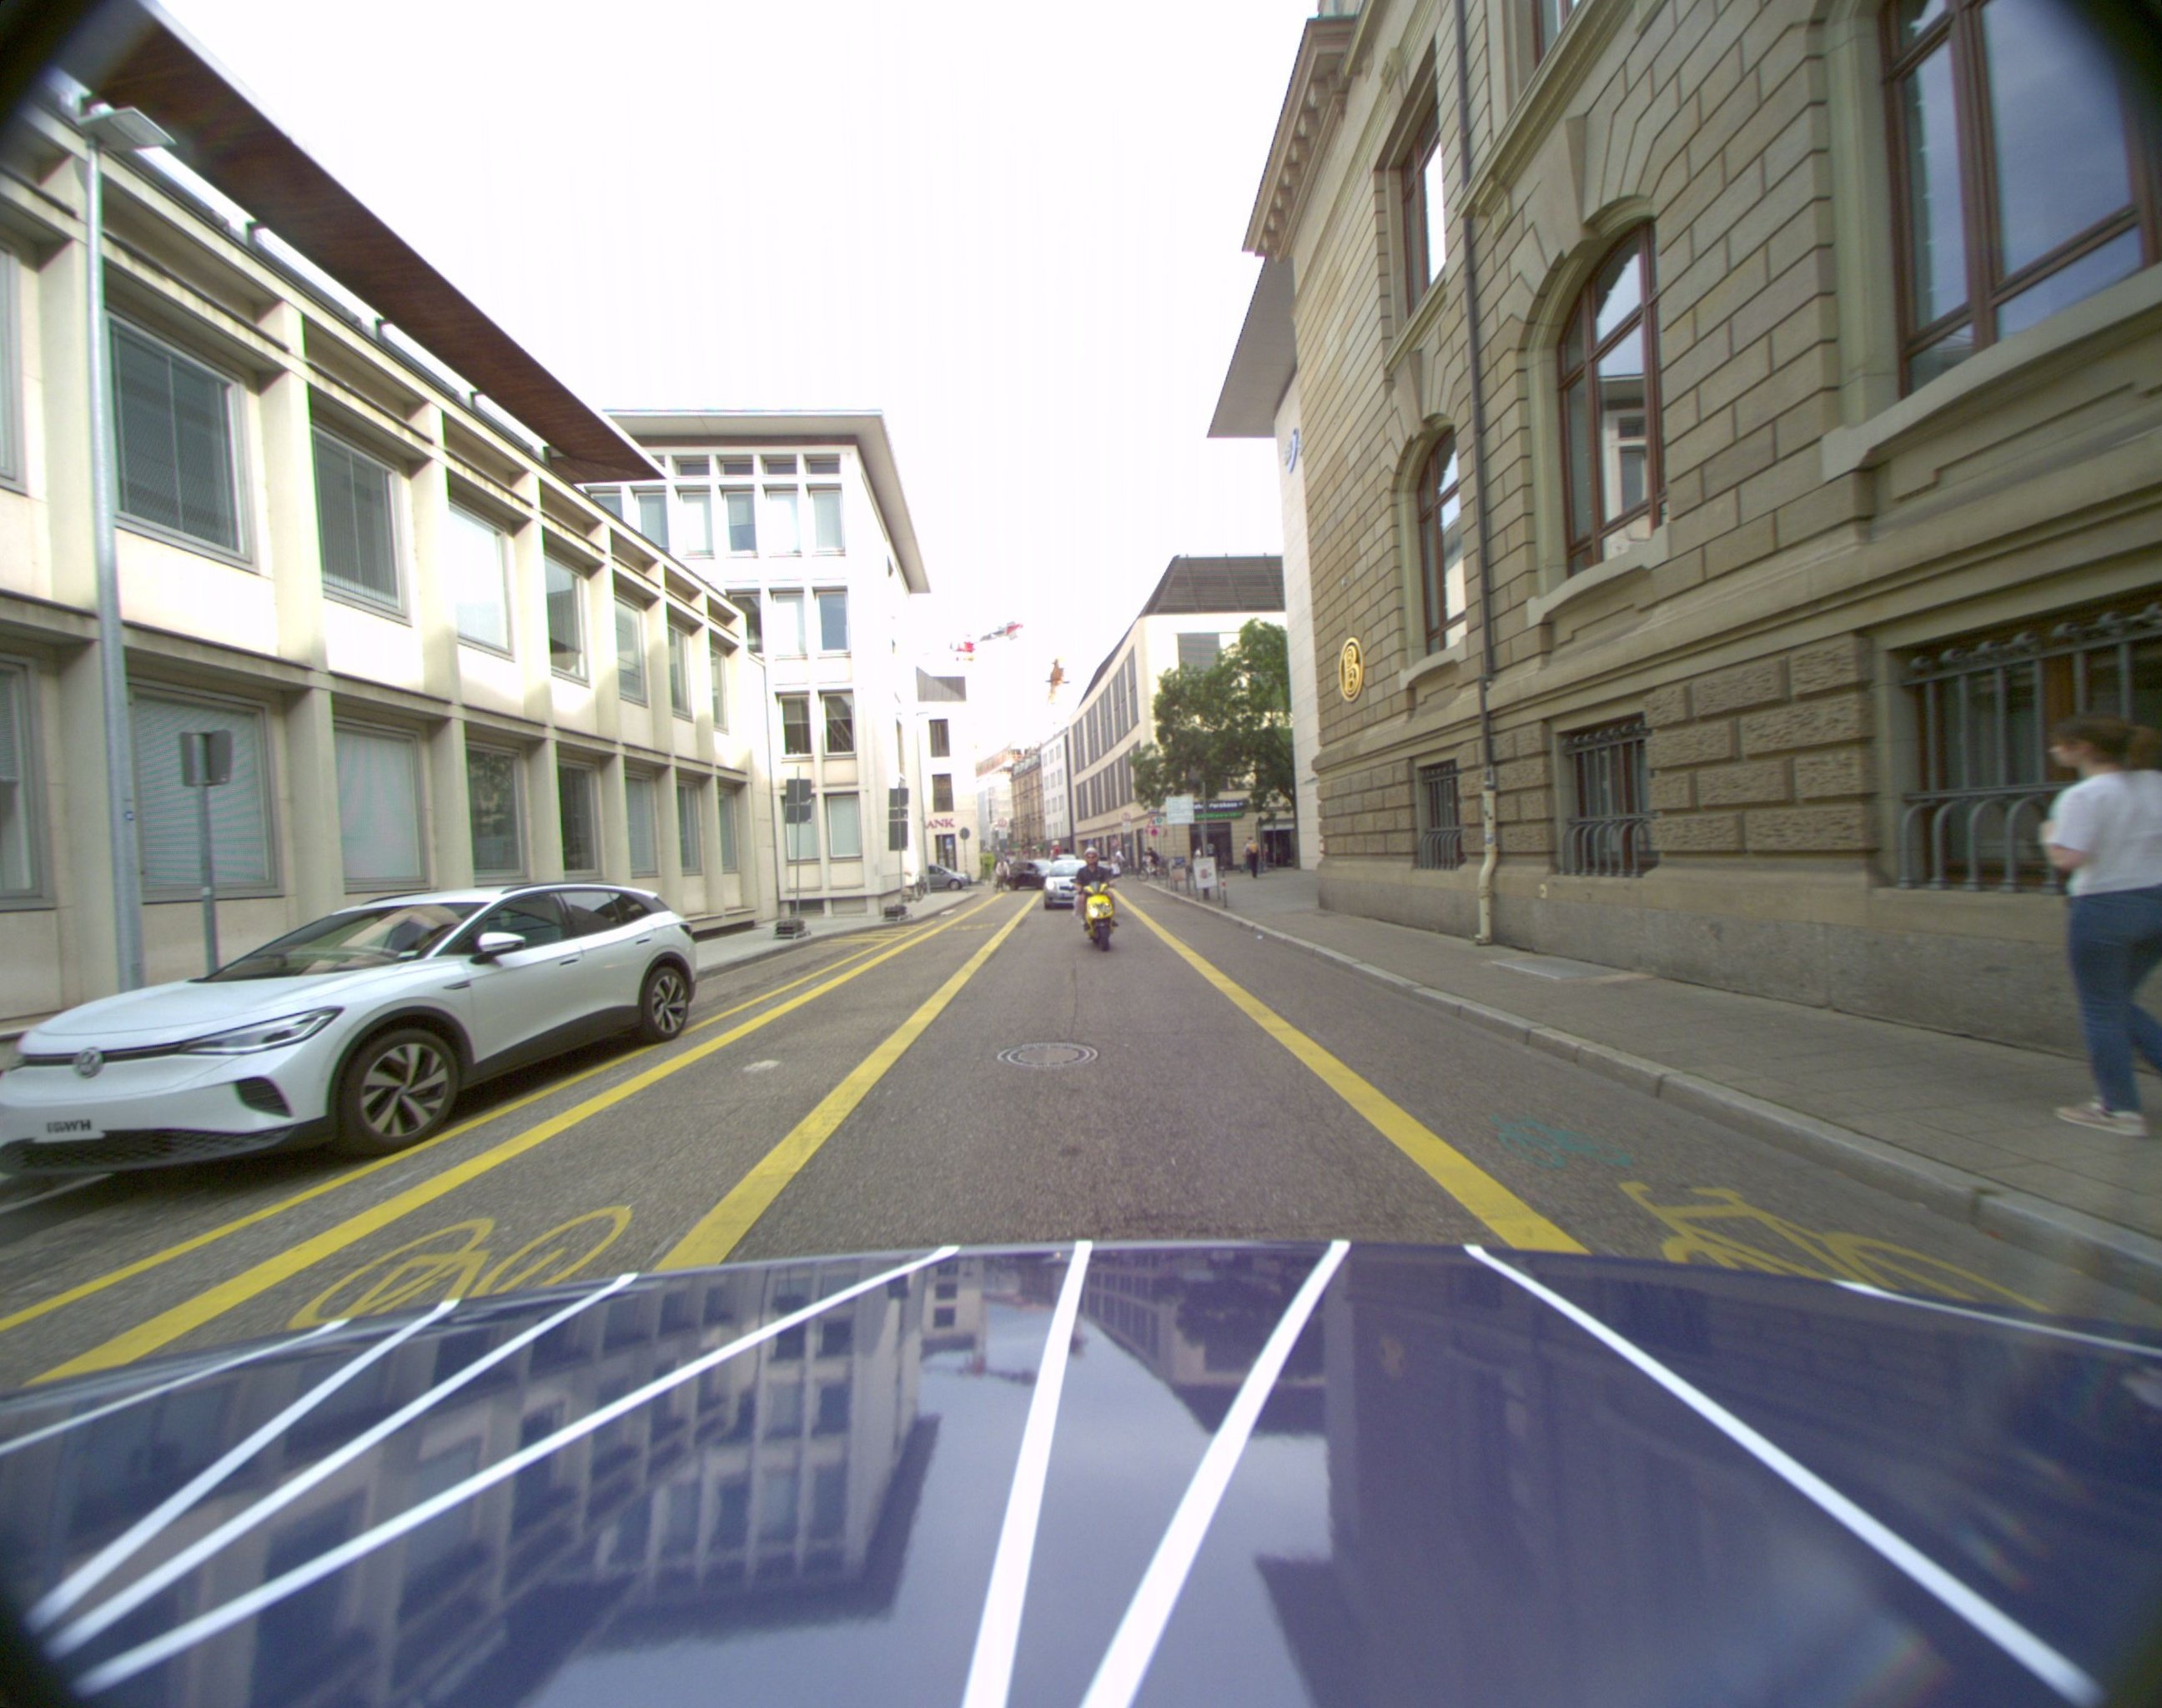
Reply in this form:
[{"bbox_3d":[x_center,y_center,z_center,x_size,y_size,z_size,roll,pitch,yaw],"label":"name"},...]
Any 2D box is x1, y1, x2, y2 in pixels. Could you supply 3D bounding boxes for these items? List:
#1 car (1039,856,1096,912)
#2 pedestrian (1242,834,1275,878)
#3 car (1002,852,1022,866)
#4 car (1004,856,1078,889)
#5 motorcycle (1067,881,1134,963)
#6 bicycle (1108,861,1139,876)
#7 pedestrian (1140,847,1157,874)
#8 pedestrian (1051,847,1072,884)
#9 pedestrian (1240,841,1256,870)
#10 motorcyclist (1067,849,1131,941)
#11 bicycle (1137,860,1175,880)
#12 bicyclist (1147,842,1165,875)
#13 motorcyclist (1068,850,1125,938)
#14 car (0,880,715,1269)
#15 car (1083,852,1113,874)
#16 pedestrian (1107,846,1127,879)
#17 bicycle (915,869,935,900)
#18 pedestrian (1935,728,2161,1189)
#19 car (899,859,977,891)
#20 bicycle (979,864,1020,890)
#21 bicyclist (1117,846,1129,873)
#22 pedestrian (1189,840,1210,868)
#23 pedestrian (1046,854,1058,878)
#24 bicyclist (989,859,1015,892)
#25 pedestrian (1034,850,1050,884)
[{"bbox_3d":[-0.434,0.883,24.349,1.562,1.482,3.783,-5,1,-1],"label":"car"},{"bbox_3d":[7.230,0.080,30.994,1.028,1.710,0.818,-5,1,-1],"label":"pedestrian"},{"bbox_3d":[-7.968,0.552,87.796,1.590,1.477,3.995,-3,1,-14],"label":"car"},{"bbox_3d":[-2.034,0.934,37.884,1.720,1.482,3.755,-4,1,-40],"label":"car"},{"bbox_3d":[0.281,1.089,12.734,0.930,1.158,2.126,-2,0,-3],"label":"motorcycle"},{"bbox_3d":[2.550,0.860,45.675,1.769,0.792,0.663,-3,1,-4],"label":"bicycle"},{"bbox_3d":[4.450,0.403,50.091,0.879,1.699,0.910,-7,1,-1],"label":"pedestrian"},{"bbox_3d":[-1.022,0.604,39.942,0.745,1.804,0.756,-7,2,-13],"label":"pedestrian"},{"bbox_3d":[10.914,0.111,49.699,0.648,1.820,0.860,-3,1,-14],"label":"pedestrian"},{"bbox_3d":[0.275,0.649,12.581,0.924,1.445,1.065,-2,0,-4],"label":"motorcyclist"},{"bbox_3d":[3.839,0.821,38.958,1.721,0.829,0.602,-7,-2,23],"label":"bicycle"},{"bbox_3d":[3.838,0.224,38.941,0.642,1.609,0.623,-6,0,22],"label":"bicyclist"},{"bbox_3d":[0.252,0.671,13.138,0.904,1.445,0.742,-2,0,-3],"label":"motorcyclist"},{"bbox_3d":[-5.036,1.193,5.966,1.864,1.596,4.512,-5,1,2],"label":"car"},{"bbox_3d":[1.317,0.702,59.668,1.563,1.547,4.100,-4,1,-8],"label":"car"},{"bbox_3d":[2.093,0.482,43.888,0.774,1.820,0.860,-3,1,-21],"label":"pedestrian"},{"bbox_3d":[-6.579,1.271,32.109,0.590,1.161,1.813,-3,1,-6],"label":"bicycle"},{"bbox_3d":[4.518,0.391,3.155,0.665,1.809,1.047,-5,1,-1],"label":"pedestrian"},{"bbox_3d":[-8.237,1.213,44.056,4.194,1.581,1.814,-3,1,-4],"label":"car"},{"bbox_3d":[-4.139,1.147,38.265,0.872,1.188,2.857,-4,1,-31],"label":"bicycle"},{"bbox_3d":[2.542,0.316,45.677,0.586,1.586,0.663,-3,1,-4],"label":"bicyclist"},{"bbox_3d":[8.087,-0.008,51.800,1.060,1.755,0.892,-6,2,-9],"label":"pedestrian"},{"bbox_3d":[-2.251,0.920,58.729,0.861,1.820,0.773,-3,1,-4],"label":"pedestrian"},{"bbox_3d":[-3.954,1.059,37.956,0.894,1.585,0.875,-4,1,-31],"label":"bicyclist"},{"bbox_3d":[-2.091,0.697,40.469,0.644,1.755,0.653,-3,1,-13],"label":"pedestrian"}]
